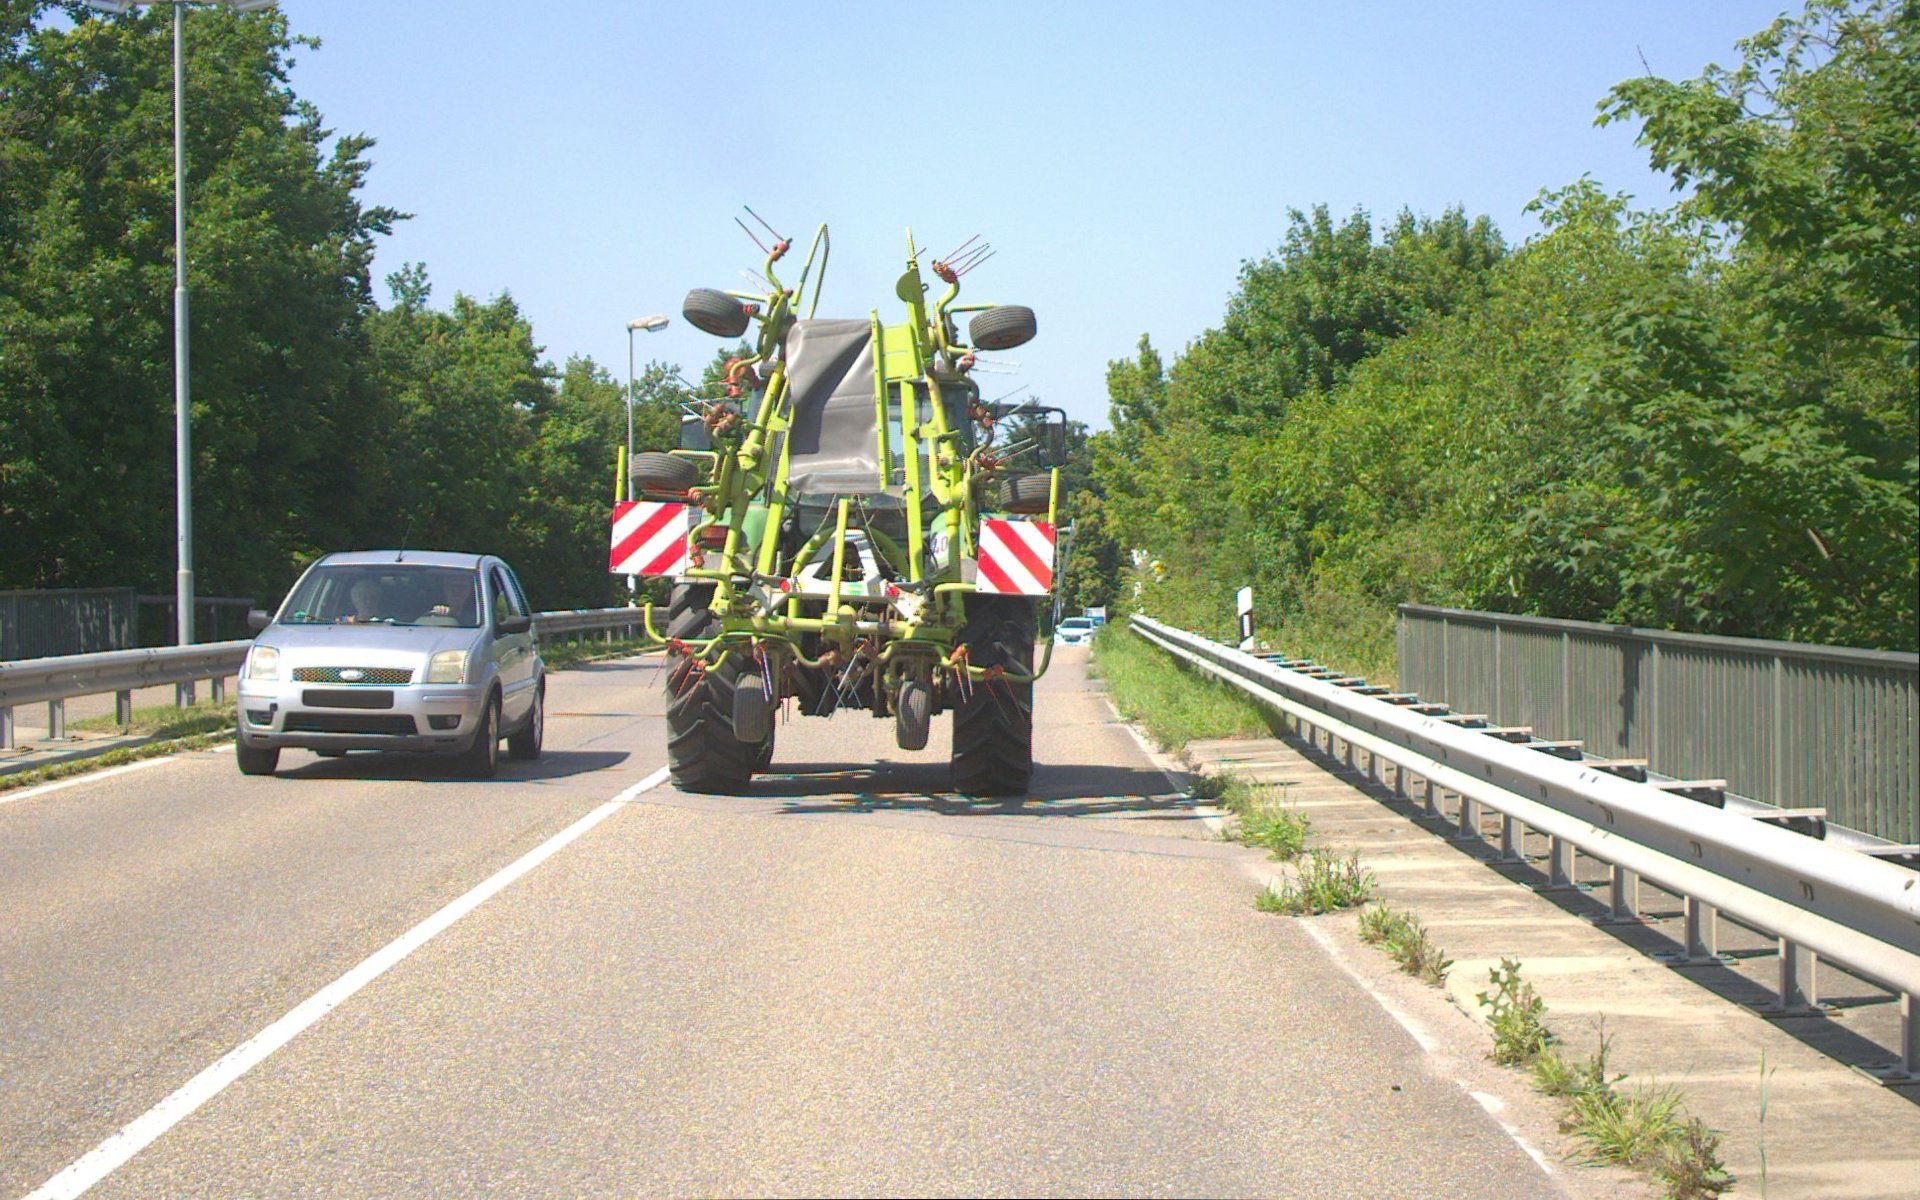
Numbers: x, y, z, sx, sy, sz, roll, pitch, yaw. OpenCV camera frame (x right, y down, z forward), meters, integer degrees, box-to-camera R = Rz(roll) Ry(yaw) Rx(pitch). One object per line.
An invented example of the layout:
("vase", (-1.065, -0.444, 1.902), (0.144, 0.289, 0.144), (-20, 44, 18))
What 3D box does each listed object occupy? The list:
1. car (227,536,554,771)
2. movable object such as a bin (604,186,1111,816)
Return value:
("car", (-3.906, 0.336, 24.092), (1.667, 1.512, 3.666), (0, 0, 0))
("movable object such as a bin", (-0.658, -0.595, 21.743), (2.755, 3.432, 5.670), (1, 1, -2))
